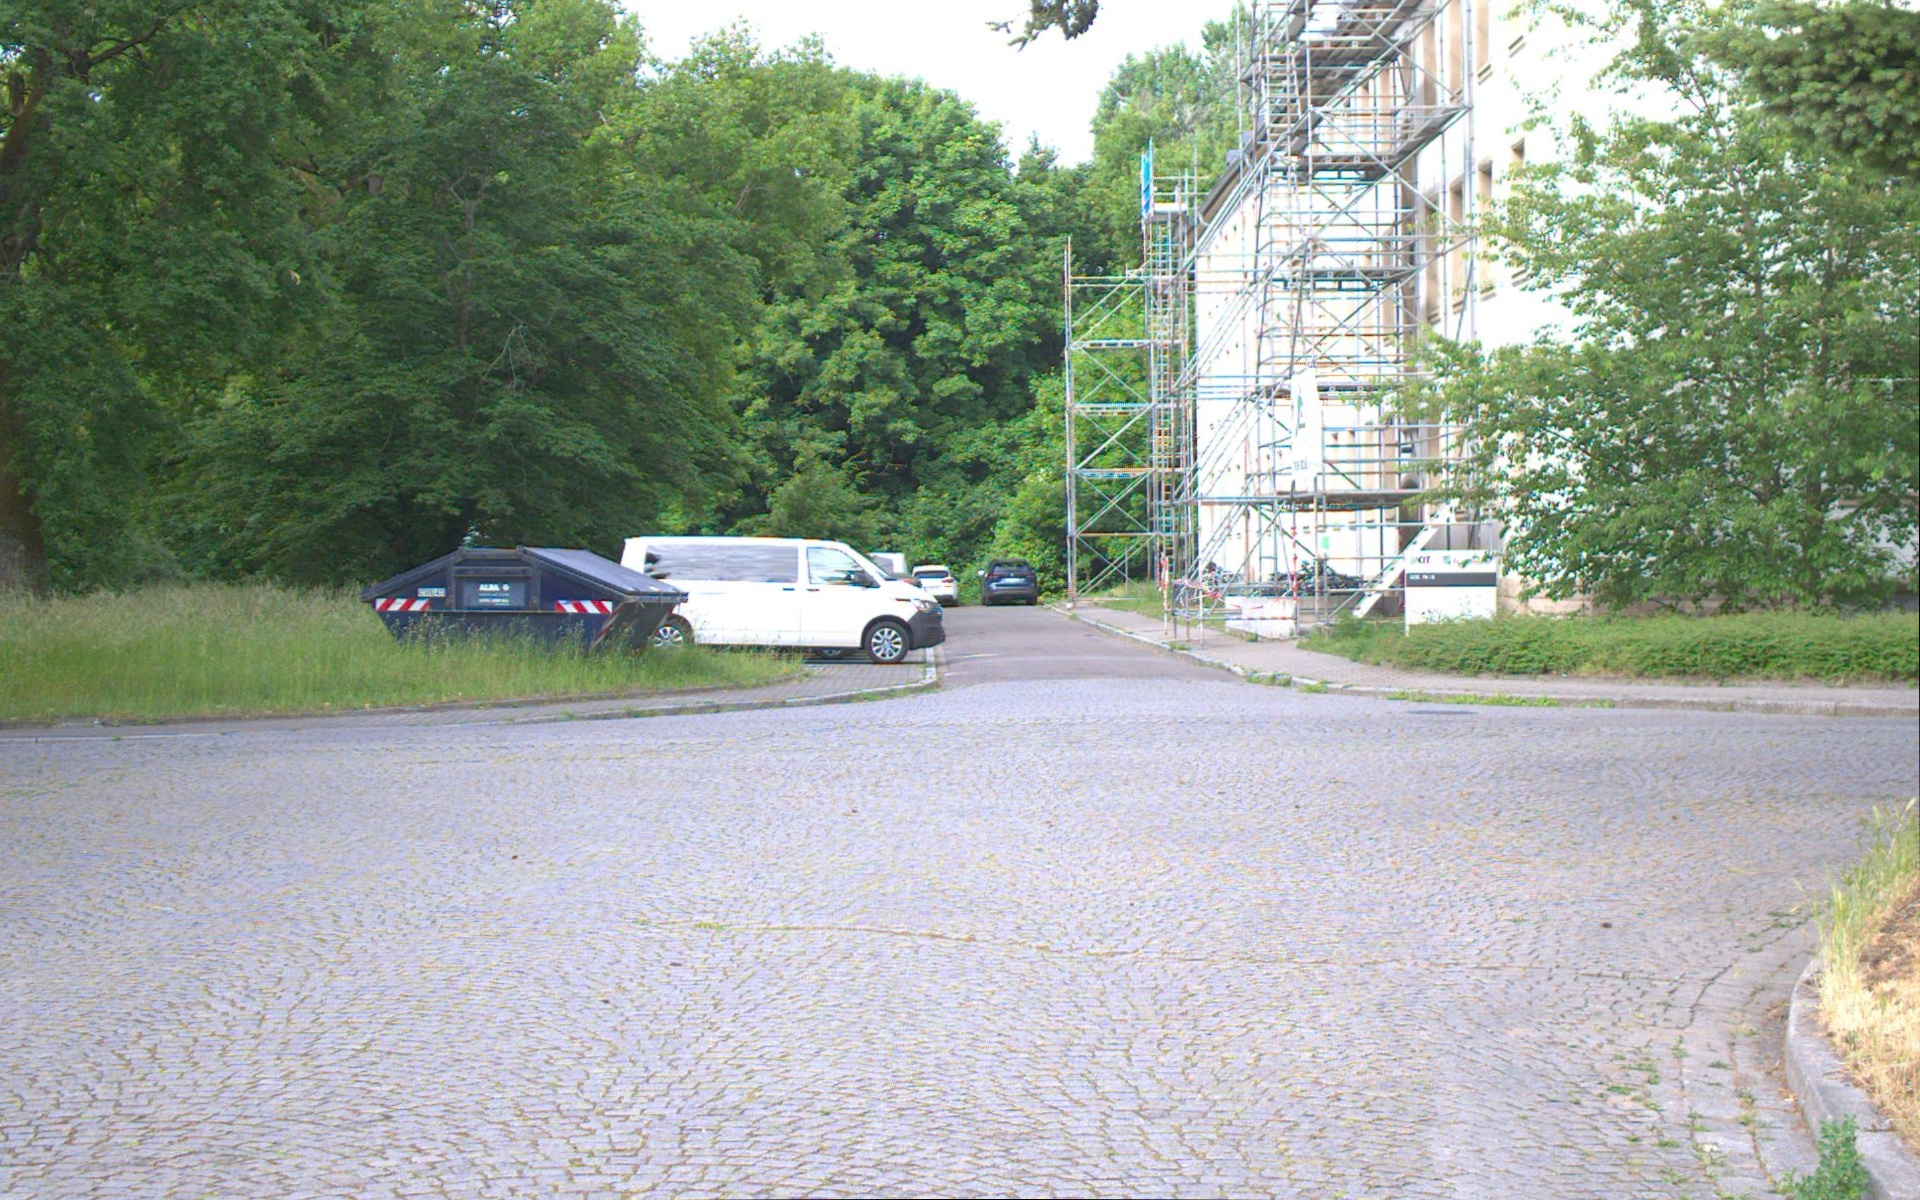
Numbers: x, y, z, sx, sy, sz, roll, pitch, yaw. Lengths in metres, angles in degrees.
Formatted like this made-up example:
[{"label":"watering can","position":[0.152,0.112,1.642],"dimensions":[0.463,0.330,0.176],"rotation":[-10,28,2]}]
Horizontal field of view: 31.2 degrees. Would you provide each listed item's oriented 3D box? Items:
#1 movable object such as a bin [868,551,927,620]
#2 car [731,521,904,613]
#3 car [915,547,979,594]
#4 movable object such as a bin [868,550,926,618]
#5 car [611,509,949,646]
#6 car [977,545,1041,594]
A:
[{"label":"movable object such as a bin","position":[-1.317,-0.307,72.579],"dimensions":[1.183,1.402,0.975],"rotation":[2,0,0]},{"label":"car","position":[-3.409,-0.773,81.732],"dimensions":[3.986,2.007,1.922],"rotation":[2,0,-4]},{"label":"car","position":[-0.468,-1.004,120.280],"dimensions":[2.001,1.542,3.959],"rotation":[2,0,-3]},{"label":"movable object such as a bin","position":[-1.349,-0.335,73.712],"dimensions":[1.183,1.402,0.975],"rotation":[2,0,0]},{"label":"car","position":[-2.799,-0.349,54.276],"dimensions":[5.200,2.053,2.188],"rotation":[1,0,-1]},{"label":"car","position":[1.730,-1.047,120.422],"dimensions":[2.063,1.588,4.000],"rotation":[2,0,2]}]
